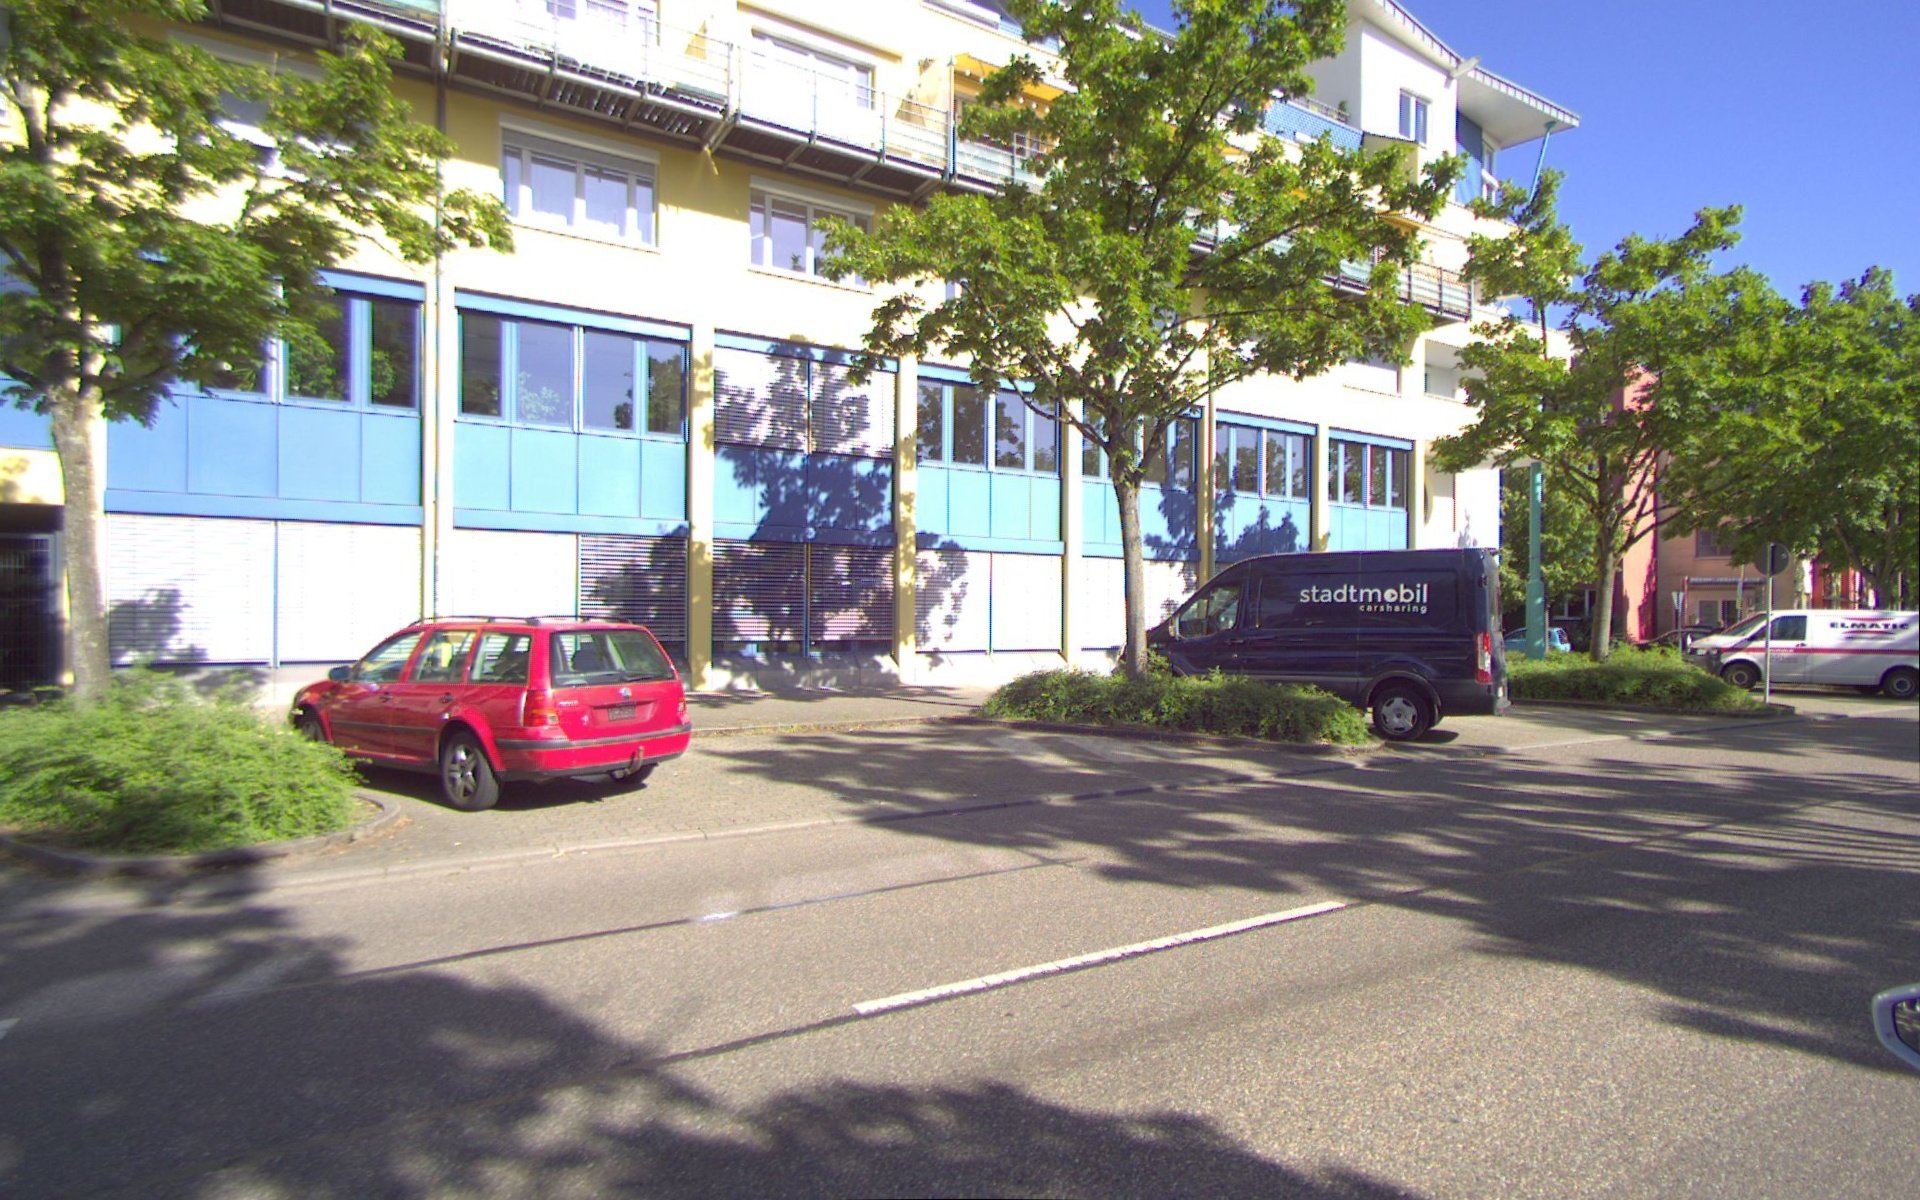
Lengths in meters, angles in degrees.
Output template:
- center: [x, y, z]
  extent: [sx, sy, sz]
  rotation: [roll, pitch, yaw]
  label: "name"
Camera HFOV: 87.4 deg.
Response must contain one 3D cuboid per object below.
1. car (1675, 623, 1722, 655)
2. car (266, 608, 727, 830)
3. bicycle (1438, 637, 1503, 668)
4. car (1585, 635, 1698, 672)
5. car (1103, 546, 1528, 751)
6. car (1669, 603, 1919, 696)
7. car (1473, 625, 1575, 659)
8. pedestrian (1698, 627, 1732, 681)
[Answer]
- center: [35.827, 1.884, 48.786]
  extent: [1.711, 1.462, 4.119]
  rotation: [-1, -1, 35]
  label: "car"
- center: [-4.212, 0.853, 8.944]
  extent: [4.161, 1.495, 1.765]
  rotation: [1, 0, 32]
  label: "car"
- center: [15.865, 1.615, 31.268]
  extent: [1.770, 0.883, 0.491]
  rotation: [1, 0, 27]
  label: "bicycle"
- center: [30.576, 2.381, 45.137]
  extent: [1.791, 1.466, 3.944]
  rotation: [-2, 1, -44]
  label: "car"
- center: [5.001, 0.555, 14.486]
  extent: [5.412, 2.469, 2.180]
  rotation: [1, 0, 34]
  label: "car"
- center: [19.979, 1.112, 23.941]
  extent: [4.678, 2.012, 1.999]
  rotation: [1, 0, 22]
  label: "car"
- center: [27.323, 2.016, 48.754]
  extent: [1.923, 1.470, 3.956]
  rotation: [-2, 1, -44]
  label: "car"
- center: [25.085, 1.783, 33.371]
  extent: [1.014, 1.748, 0.651]
  rotation: [1, -2, -40]
  label: "pedestrian"
